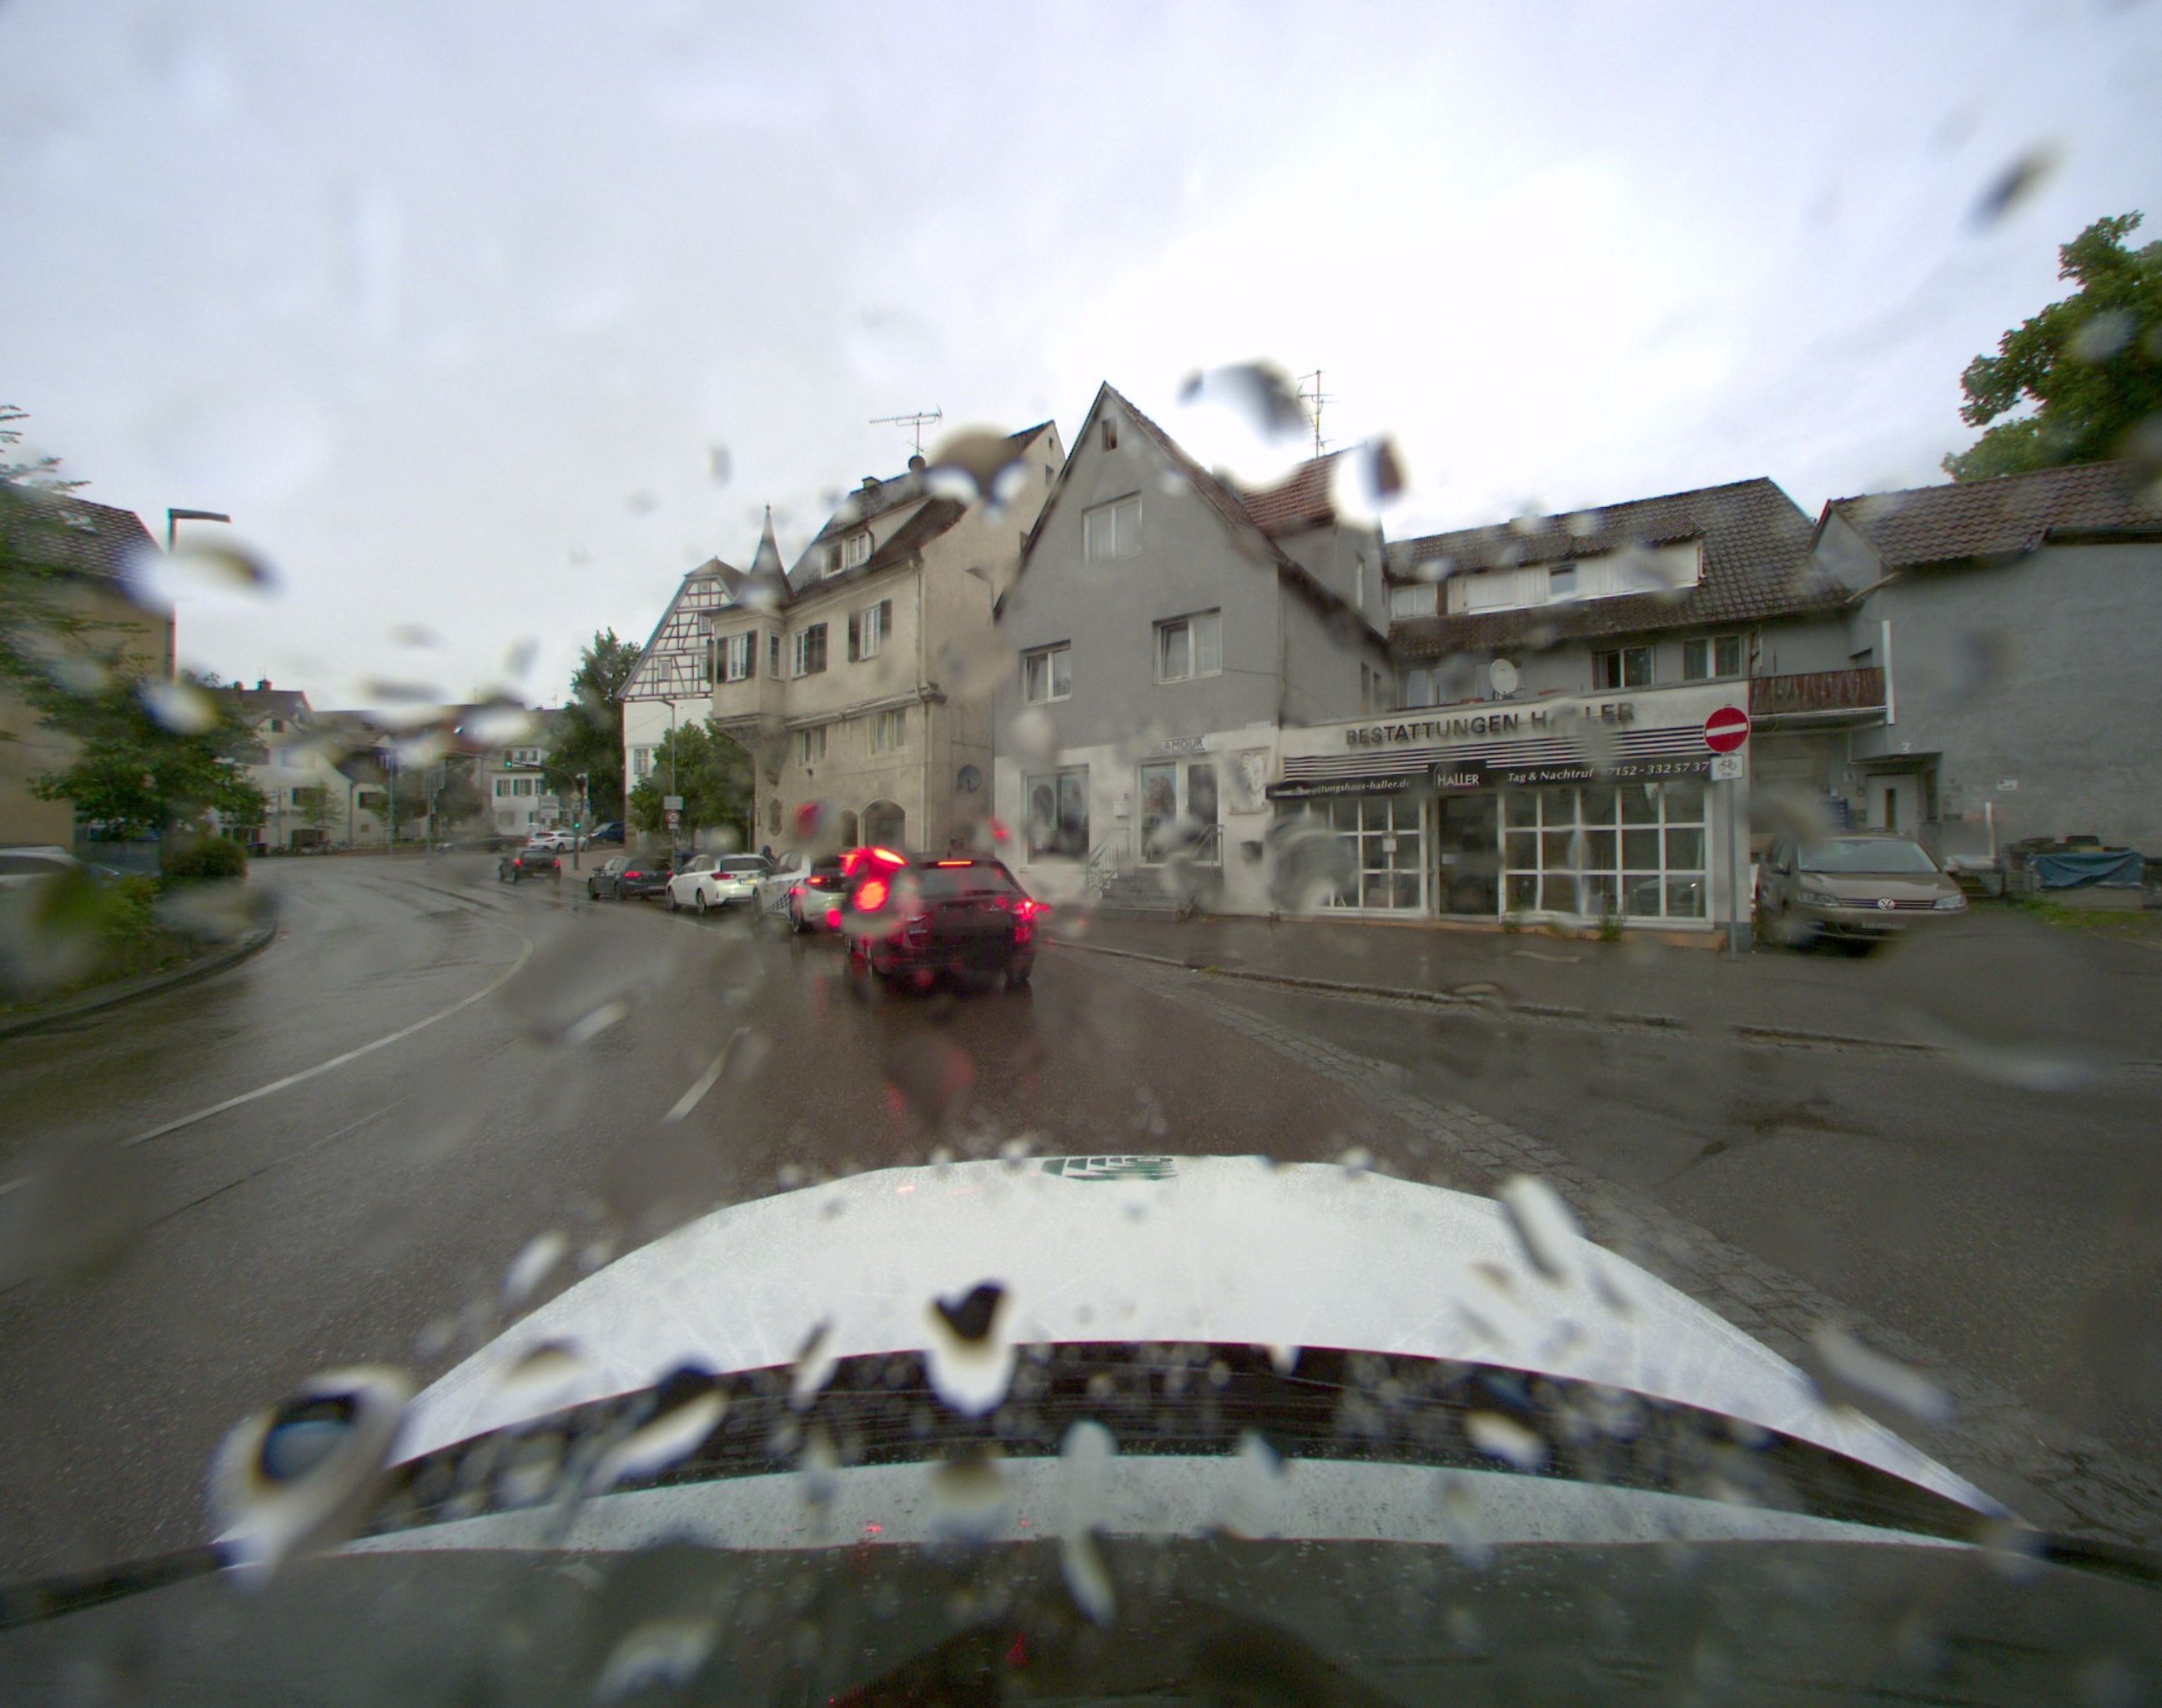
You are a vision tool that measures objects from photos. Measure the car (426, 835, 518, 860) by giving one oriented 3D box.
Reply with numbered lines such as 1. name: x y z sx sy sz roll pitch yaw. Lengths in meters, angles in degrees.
1. car: -40.639 -0.429 54.454 1.840 1.546 4.523 0 0 29

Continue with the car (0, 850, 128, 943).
1. car: -20.046 0.755 14.380 1.978 1.629 3.662 0 0 18

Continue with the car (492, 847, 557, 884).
1. car: -23.807 0.470 34.779 3.389 1.524 1.598 0 0 43

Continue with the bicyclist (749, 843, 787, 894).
1. bicyclist: -9.659 0.427 25.154 1.017 1.517 0.690 1 1 40

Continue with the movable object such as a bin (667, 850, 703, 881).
1. movable object such as a bin: -17.230 0.469 35.448 1.164 1.313 1.172 0 0 -40

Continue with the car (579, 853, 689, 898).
1. car: -14.438 0.640 26.212 3.950 1.302 2.012 0 0 44

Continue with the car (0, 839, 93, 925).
1. car: -26.466 0.810 18.294 1.938 1.824 4.966 2 7 26

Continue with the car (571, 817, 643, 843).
1. car: -36.748 -1.849 63.237 1.974 1.881 4.406 0 0 34

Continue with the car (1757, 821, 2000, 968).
1. car: 11.566 0.426 12.150 1.974 1.771 4.026 0 2 35

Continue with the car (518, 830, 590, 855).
1. car: -34.433 -0.719 53.346 1.988 1.586 4.308 0 0 -1

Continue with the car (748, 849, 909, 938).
1. car: -5.003 0.664 15.805 1.870 1.473 3.957 -1 0 -35

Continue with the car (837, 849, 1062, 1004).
1. car: -1.857 0.679 10.063 1.894 1.448 4.326 -1 0 -21

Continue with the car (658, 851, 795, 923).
1. car: -8.989 0.751 20.471 1.902 1.596 4.274 -1 0 -42
